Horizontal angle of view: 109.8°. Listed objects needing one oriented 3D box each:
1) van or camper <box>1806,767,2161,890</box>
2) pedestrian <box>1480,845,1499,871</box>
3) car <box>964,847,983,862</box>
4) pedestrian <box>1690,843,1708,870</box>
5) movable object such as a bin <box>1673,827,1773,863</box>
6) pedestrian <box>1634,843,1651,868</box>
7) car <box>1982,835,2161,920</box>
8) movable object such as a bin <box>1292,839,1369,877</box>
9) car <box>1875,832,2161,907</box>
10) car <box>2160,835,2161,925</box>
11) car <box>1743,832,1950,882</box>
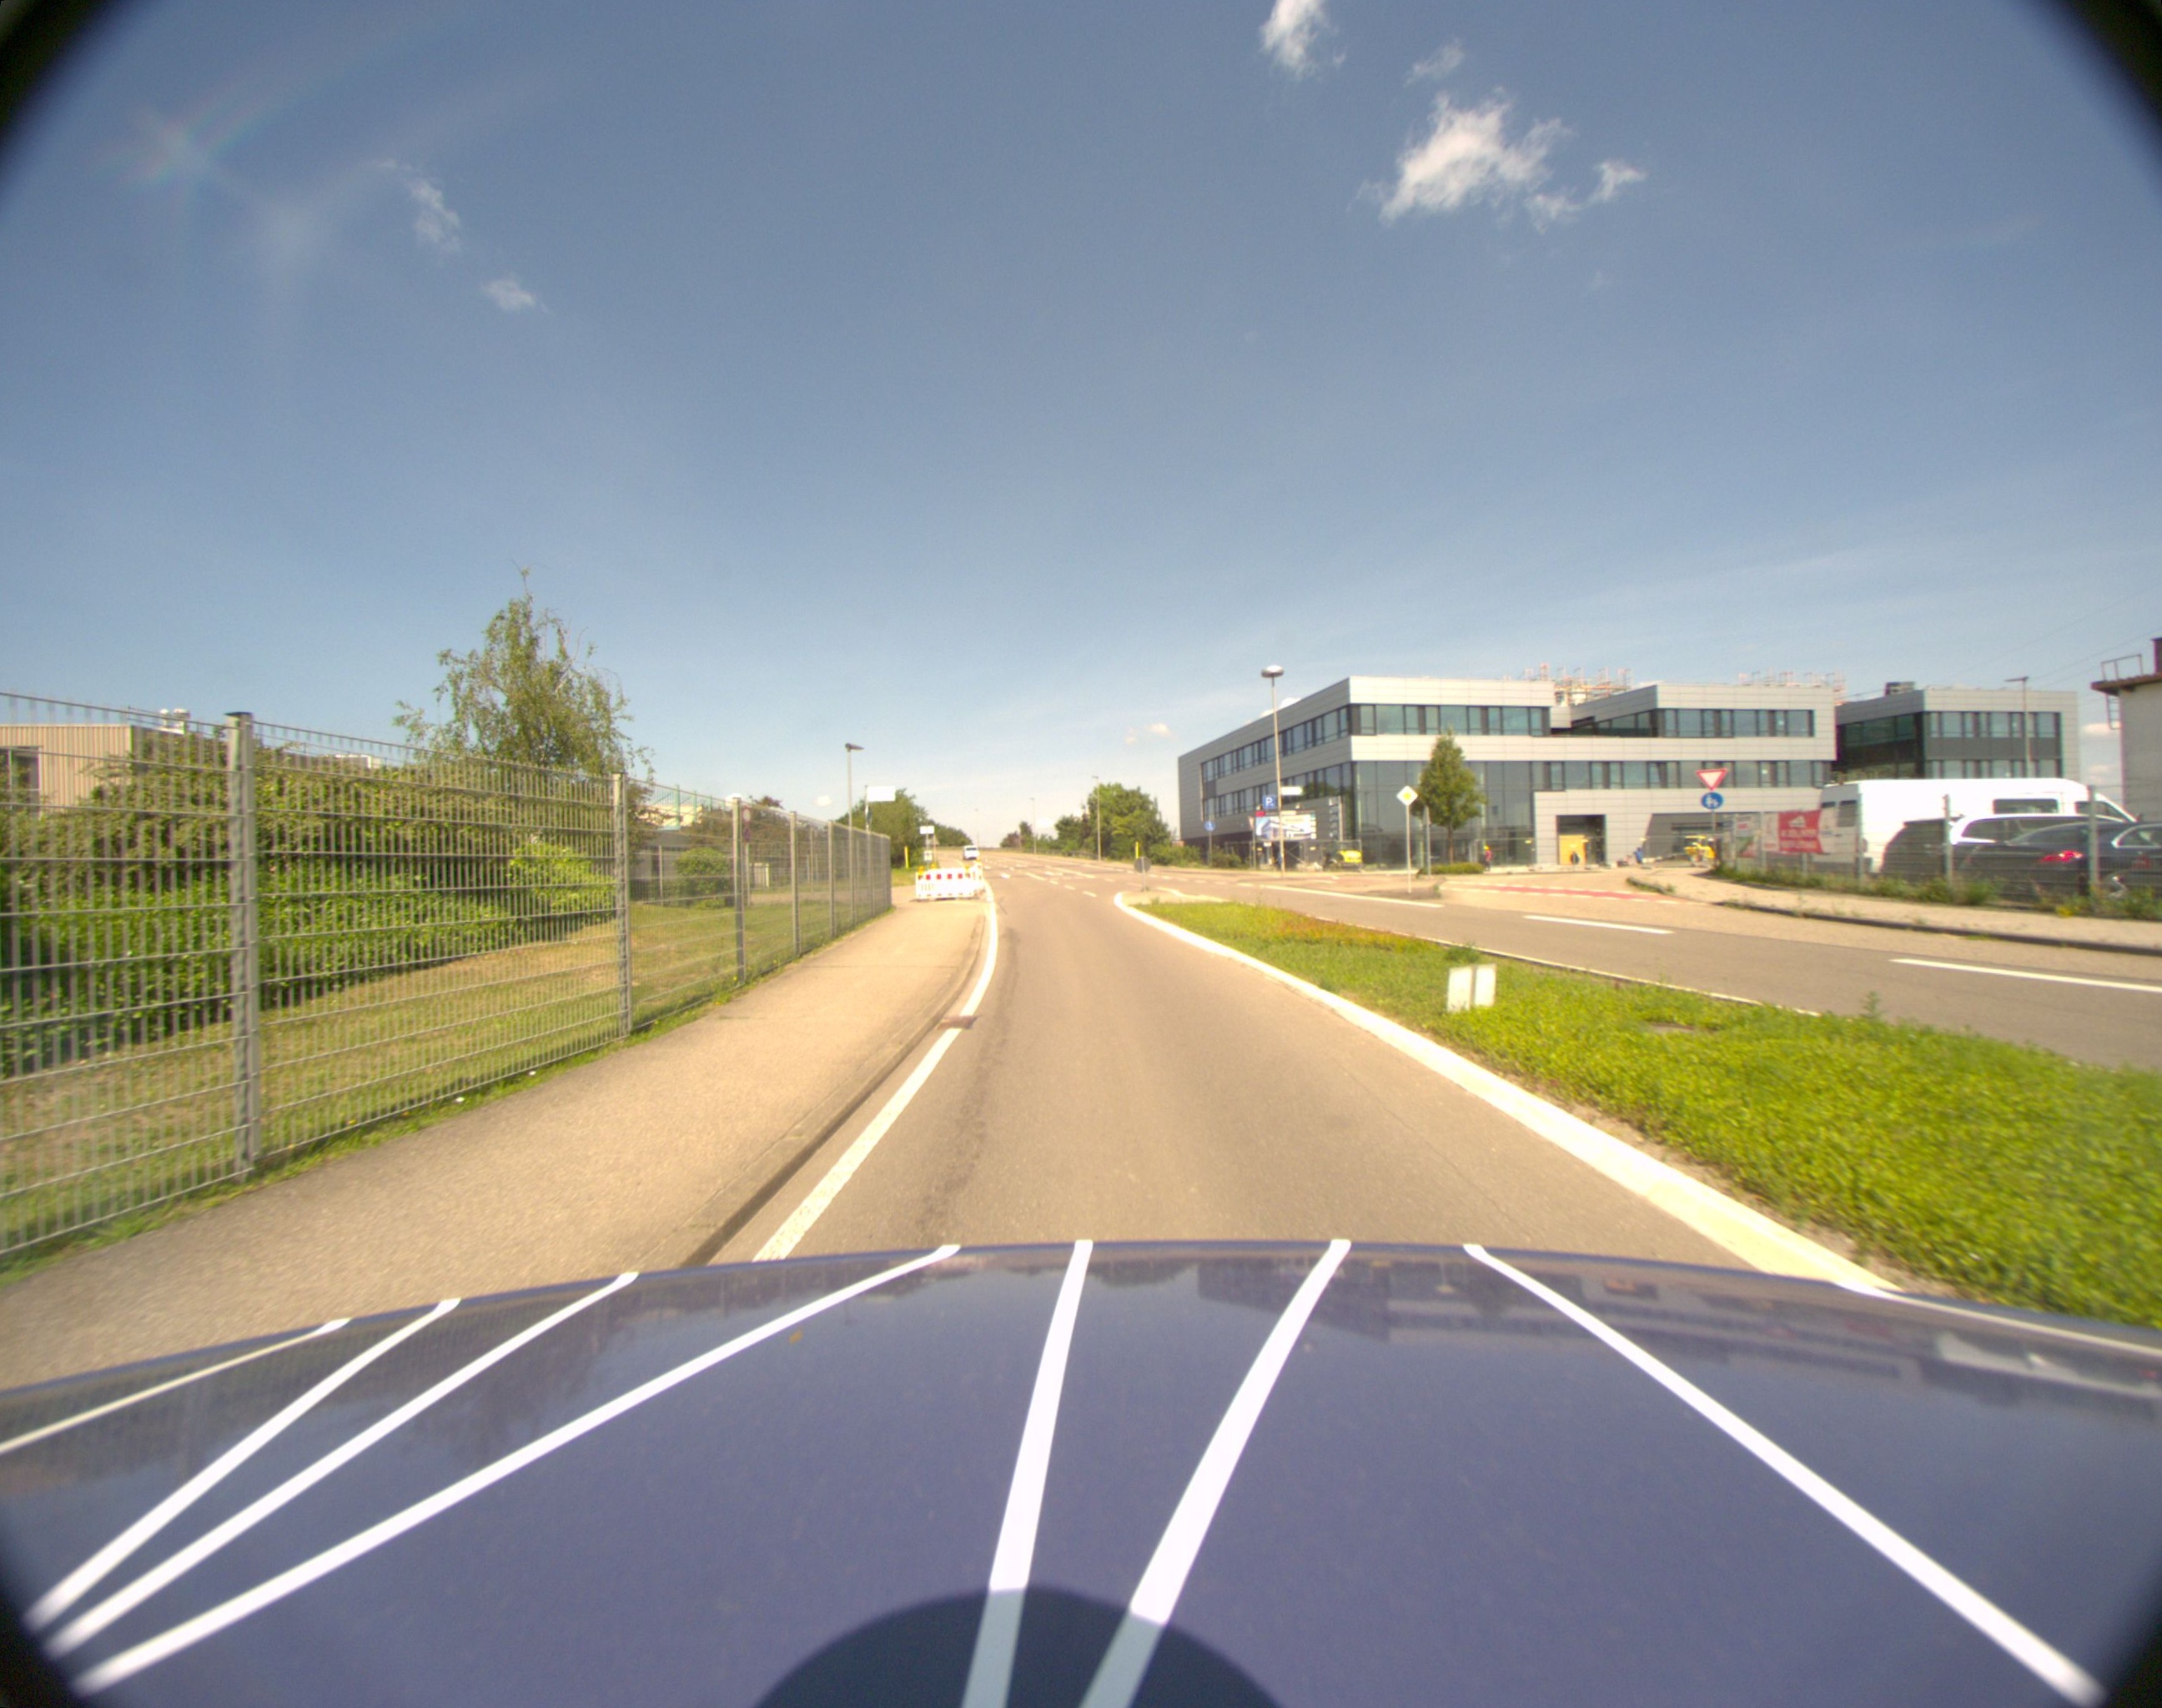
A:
[{"bbox_3d":[20.645,-0.509,17.319,5.577,2.483,2.081,-2,1,18],"label":"van or camper"},{"bbox_3d":[27.533,0.291,51.257,0.782,1.718,0.774,-2,1,-12],"label":"pedestrian"},{"bbox_3d":[-14.171,0.028,99.846,2.001,1.903,3.995,-2,0,-15],"label":"car"},{"bbox_3d":[40.392,0.143,49.650,0.776,1.718,0.718,-2,1,-34],"label":"pedestrian"},{"bbox_3d":[46.683,-0.648,55.273,6.384,2.438,3.378,-2,0,-28],"label":"movable object such as a bin"},{"bbox_3d":[39.541,0.131,53.538,0.775,1.718,0.533,-2,1,-9],"label":"pedestrian"},{"bbox_3d":[18.202,0.333,12.480,3.993,1.313,2.002,-1,0,13],"label":"car"},{"bbox_3d":[17.184,0.269,52.618,2.173,2.395,5.452,-2,0,-19],"label":"movable object such as a bin"},{"bbox_3d":[18.600,0.296,14.780,3.993,1.313,1.837,-2,0,13],"label":"car"},{"bbox_3d":[17.463,0.329,9.841,3.884,1.313,1.693,-2,0,13],"label":"car"},{"bbox_3d":[22.117,0.100,22.132,3.992,1.313,1.561,-2,0,16],"label":"car"}]
